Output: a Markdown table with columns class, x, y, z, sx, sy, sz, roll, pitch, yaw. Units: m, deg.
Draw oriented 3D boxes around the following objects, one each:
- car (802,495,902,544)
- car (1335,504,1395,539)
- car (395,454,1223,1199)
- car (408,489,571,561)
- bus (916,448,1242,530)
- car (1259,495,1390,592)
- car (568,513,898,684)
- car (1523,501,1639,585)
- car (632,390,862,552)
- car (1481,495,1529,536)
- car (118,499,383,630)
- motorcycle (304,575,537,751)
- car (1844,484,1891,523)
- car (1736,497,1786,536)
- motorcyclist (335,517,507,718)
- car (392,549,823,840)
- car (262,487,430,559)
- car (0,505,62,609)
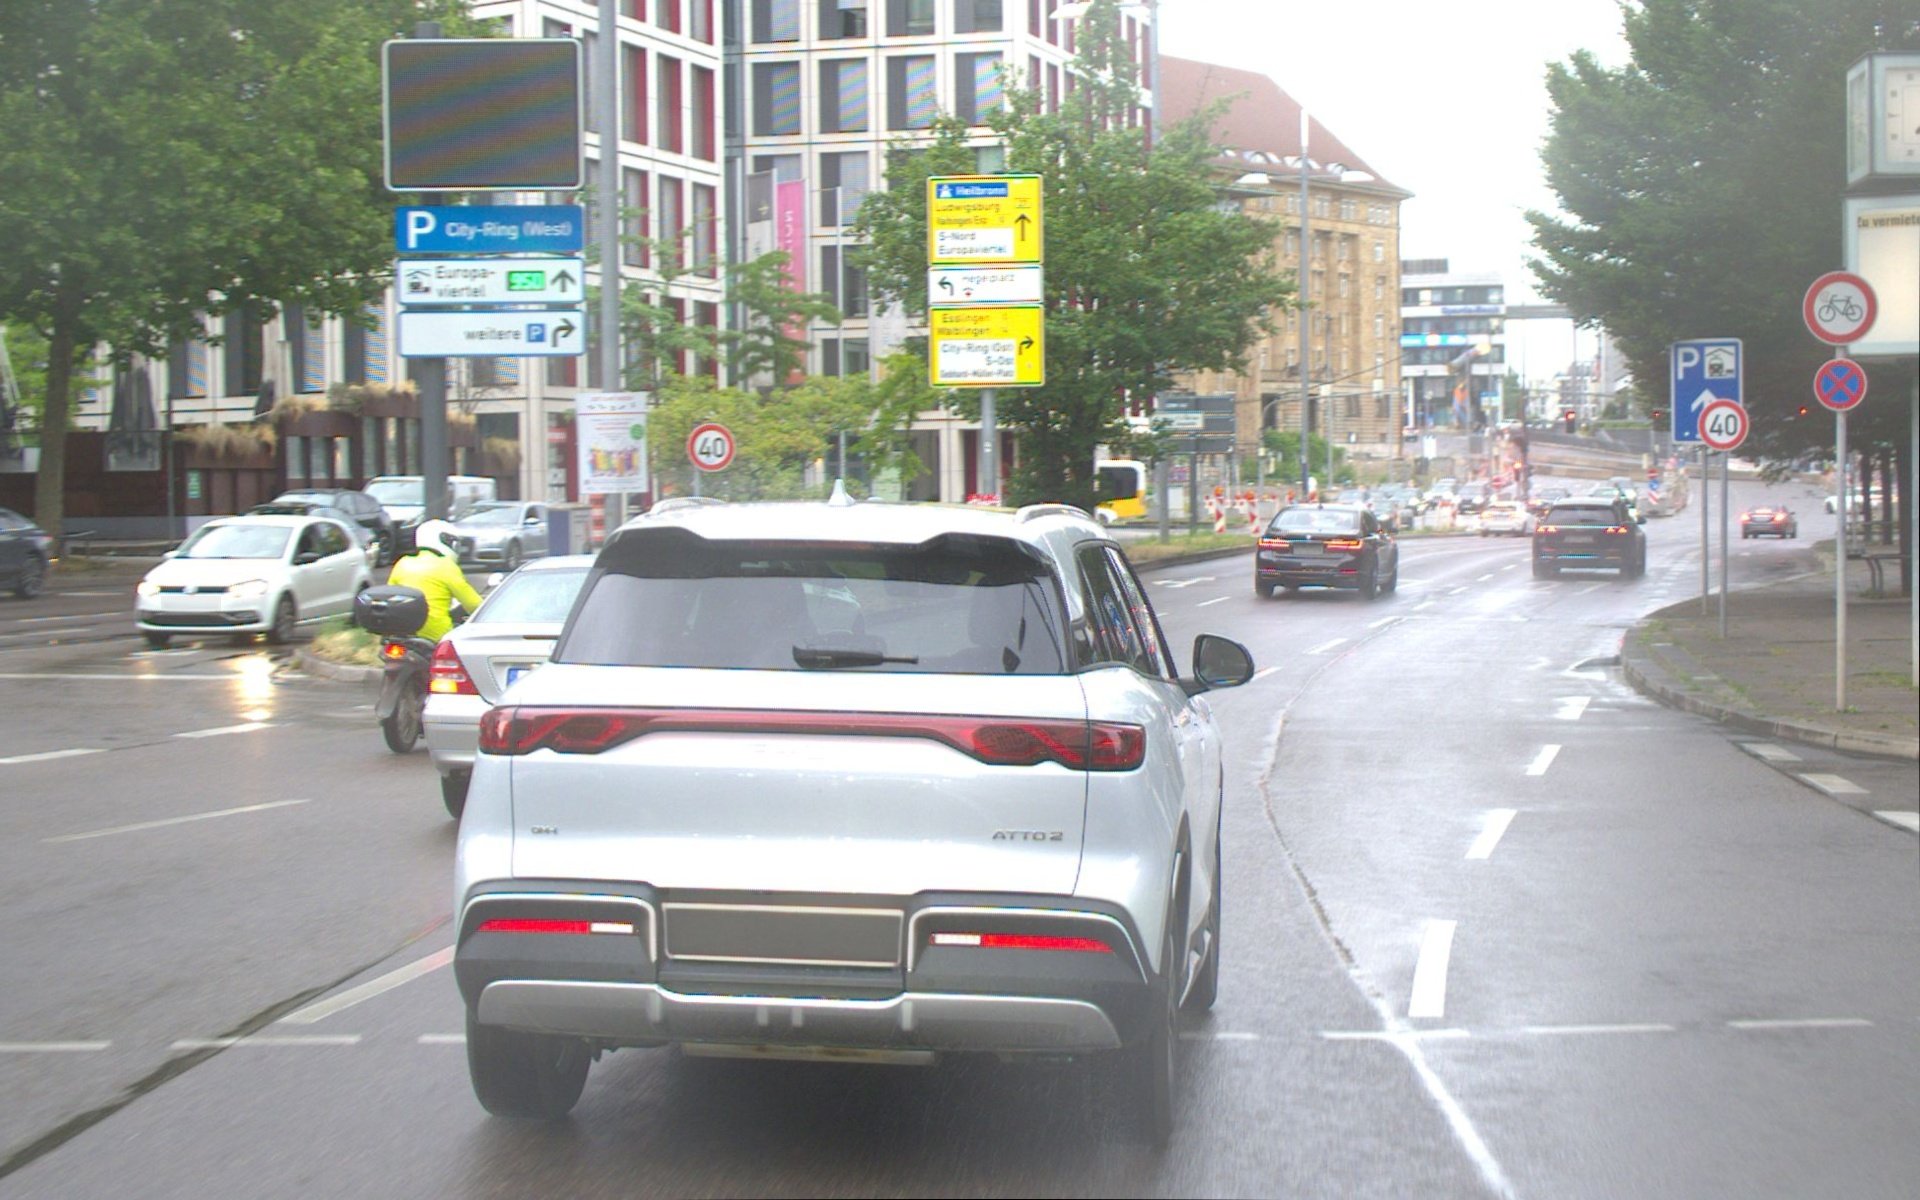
| class | x | y | z | sx | sy | sz | roll | pitch | yaw |
| --- | --- | --- | --- | --- | --- | --- | --- | --- | --- |
| car | -3.311 | -2.507 | 106.304 | 1.995 | 1.483 | 3.997 | 1 | 2 | 15 |
| car | 17.702 | -3.439 | 150.198 | 1.995 | 1.481 | 3.997 | 1 | 2 | 16 |
| car | -0.206 | 0.511 | 9.880 | 1.776 | 1.673 | 3.999 | 1 | 0 | 6 |
| car | -9.839 | -1.591 | 72.196 | 1.995 | 1.483 | 3.997 | 1 | 2 | 15 |
| bus | 6.426 | -5.976 | 185.422 | 16.973 | 4.049 | 4.435 | 1 | 0 | 13 |
| car | 5.898 | -0.886 | 55.322 | 1.572 | 1.481 | 3.997 | 1 | 0 | 14 |
| car | -2.051 | -0.013 | 32.317 | 1.708 | 1.481 | 3.996 | 1 | 0 | 18 |
| car | 11.648 | -1.045 | 64.298 | 1.695 | 1.481 | 3.997 | 1 | 0 | 16 |
| car | -2.838 | -1.715 | 47.054 | 1.994 | 2.007 | 4.846 | 1 | 0 | 10 |
| car | 22.484 | -3.469 | 141.785 | 1.888 | 1.637 | 3.998 | 1 | 1 | 10 |
| car | -8.191 | -0.451 | 39.997 | 1.632 | 1.432 | 3.906 | 0 | 2 | 11 |
| motorcycle | -3.799 | 0.433 | 24.400 | 0.801 | 1.180 | 2.026 | 1 | 0 | 17 |
| car | 50.169 | -5.342 | 190.126 | 1.994 | 2.007 | 3.999 | 1 | 0 | 8 |
| car | 33.142 | -3.440 | 142.184 | 1.695 | 1.481 | 3.996 | 1 | 0 | 18 |
| motorcyclist | -3.806 | 0.117 | 24.340 | 0.770 | 1.375 | 1.117 | 1 | 0 | 17 |
| car | -1.825 | 0.461 | 18.983 | 1.571 | 1.402 | 4.108 | 1 | 0 | 5 |
| car | -12.969 | -1.645 | 72.845 | 1.995 | 1.483 | 3.997 | 1 | 2 | 15 |
| car | -15.320 | -0.647 | 51.795 | 1.632 | 1.553 | 4.591 | 0 | 2 | 11 |
